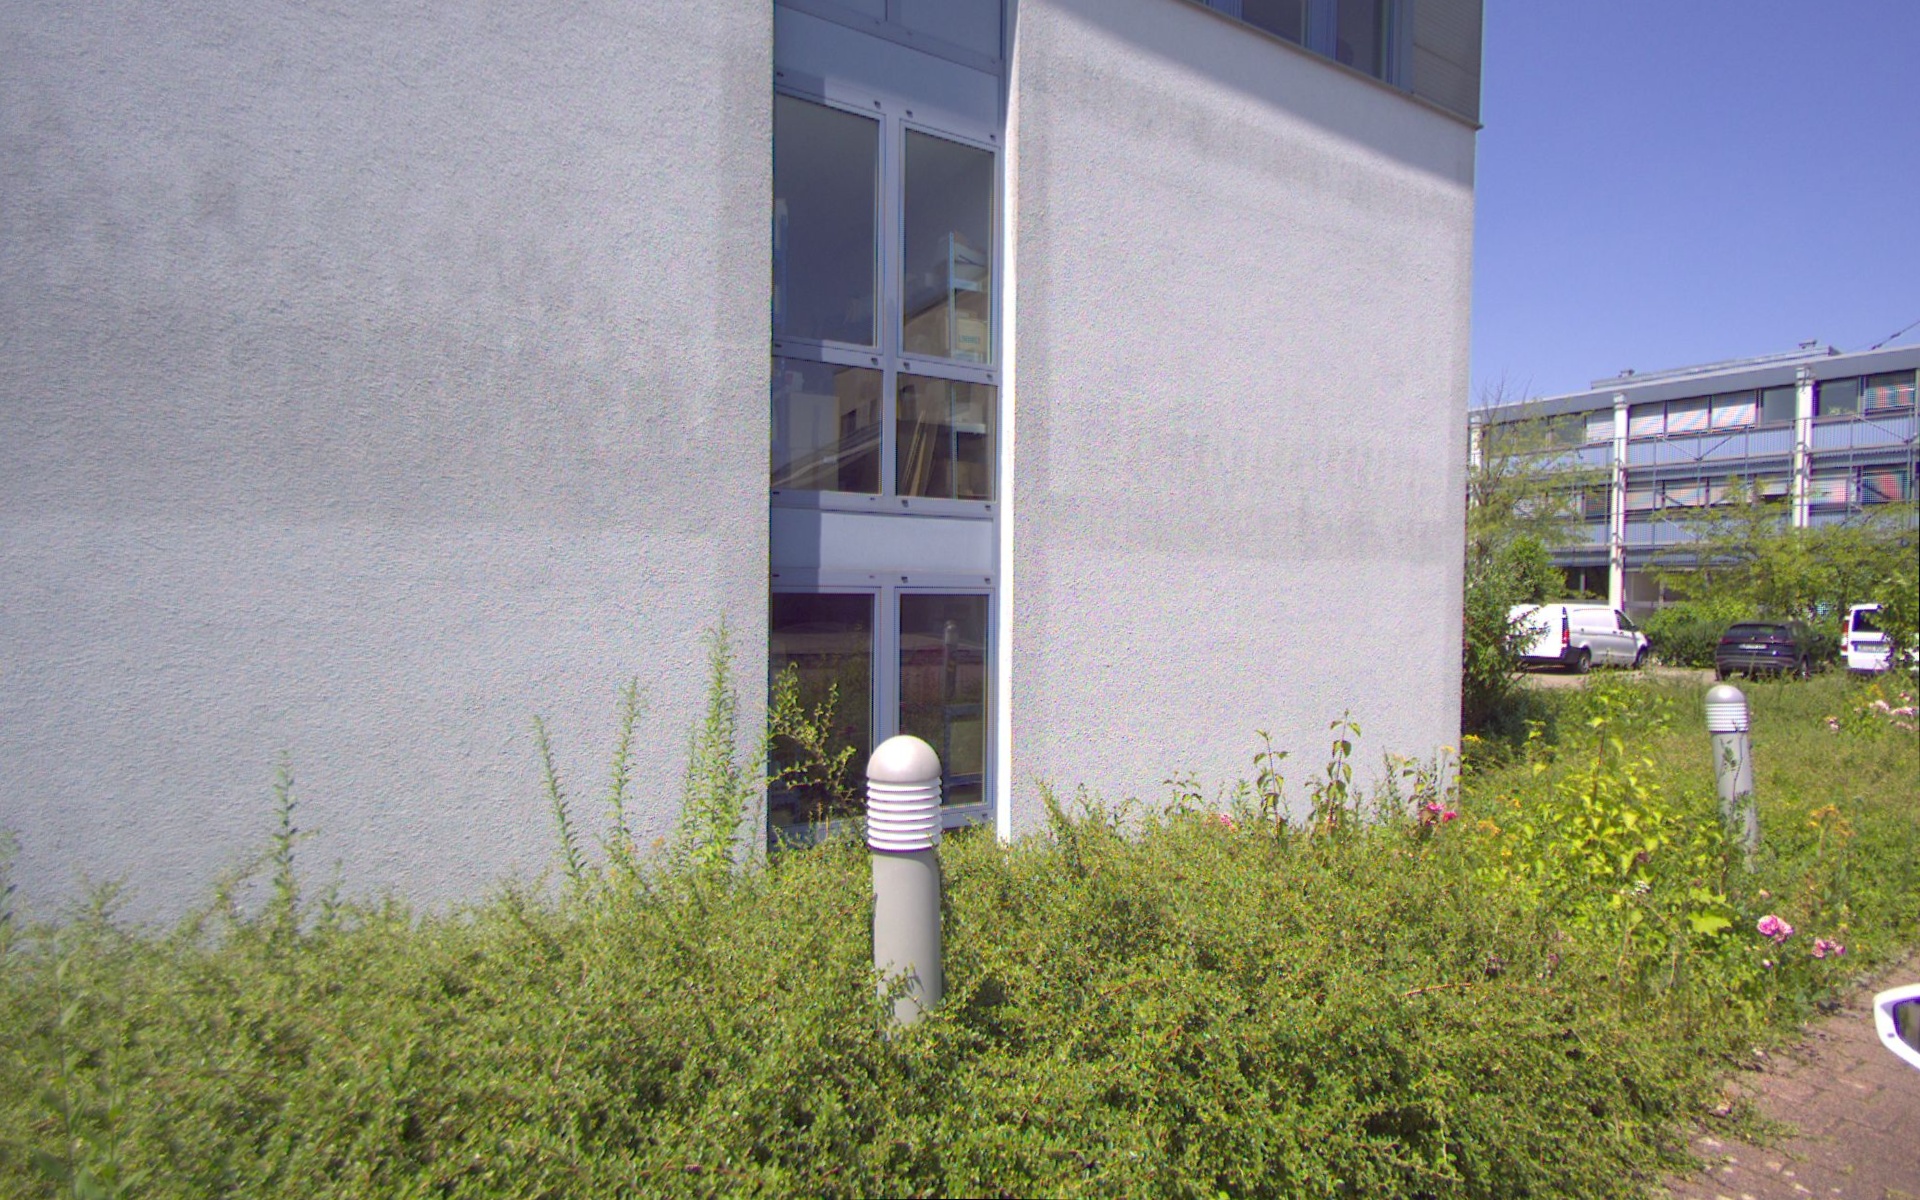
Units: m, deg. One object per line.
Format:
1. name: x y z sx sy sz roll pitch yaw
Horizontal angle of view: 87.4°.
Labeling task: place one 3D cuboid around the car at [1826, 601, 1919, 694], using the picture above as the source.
1. car: 21.496 0.993 22.714 4.761 1.930 1.900 0 0 -36

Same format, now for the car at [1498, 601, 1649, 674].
1. car: 17.571 1.006 28.716 4.752 1.916 1.870 0 0 -33

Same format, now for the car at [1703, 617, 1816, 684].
1. car: 20.173 1.200 25.294 3.973 1.496 1.737 0 0 -44

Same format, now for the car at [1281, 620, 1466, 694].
1. car: 9.490 1.220 22.938 4.439 1.492 1.845 0 0 -35
